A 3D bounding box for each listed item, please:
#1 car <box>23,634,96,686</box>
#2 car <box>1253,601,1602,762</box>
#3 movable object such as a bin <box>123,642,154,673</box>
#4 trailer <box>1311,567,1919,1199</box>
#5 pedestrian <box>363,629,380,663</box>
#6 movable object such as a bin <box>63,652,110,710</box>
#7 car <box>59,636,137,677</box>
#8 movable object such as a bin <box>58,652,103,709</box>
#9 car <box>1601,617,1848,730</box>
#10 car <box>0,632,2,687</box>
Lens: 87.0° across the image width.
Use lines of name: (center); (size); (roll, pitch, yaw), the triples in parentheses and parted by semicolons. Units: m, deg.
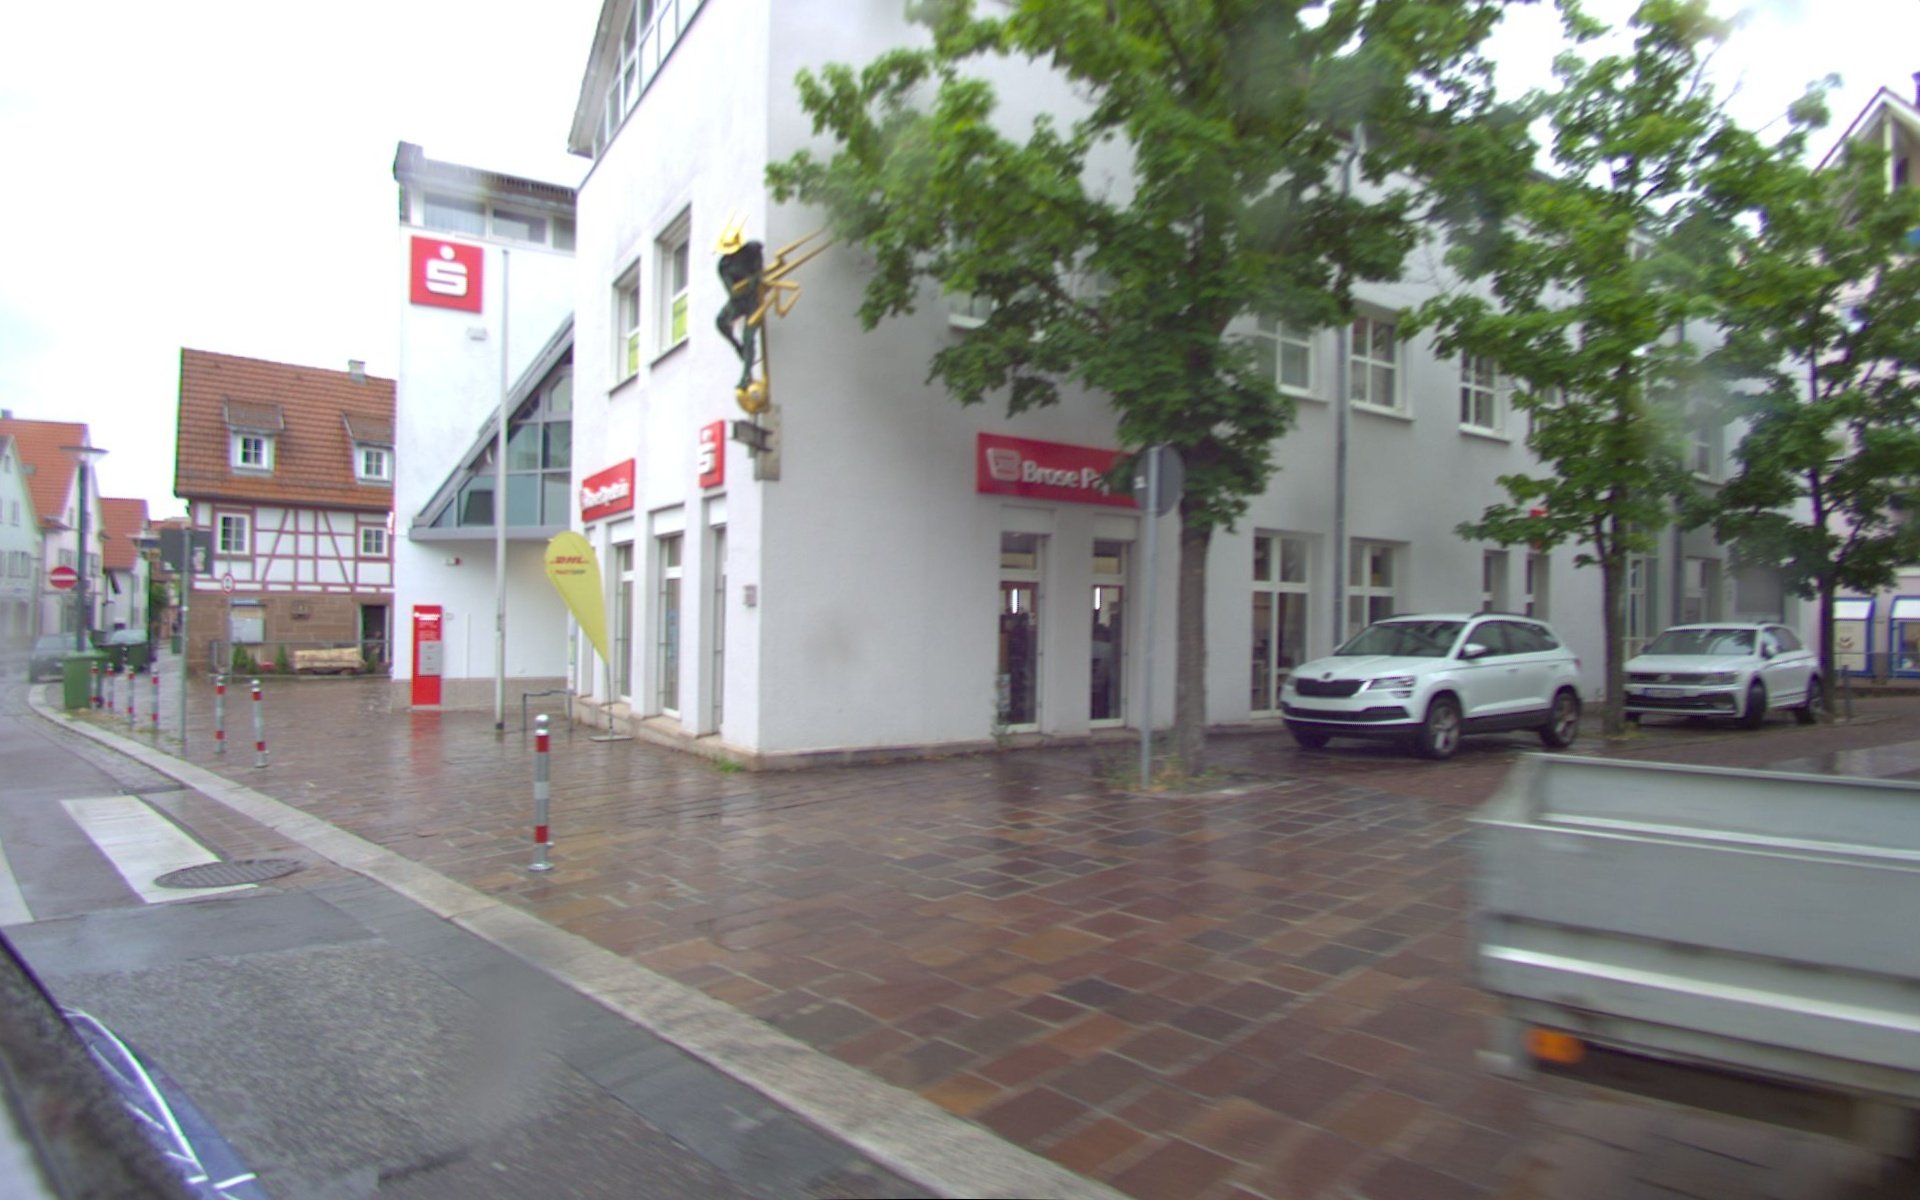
car: (-28.962, 1.873, 32.551); (1.669, 1.497, 4.005); (0, -1, -42)
car: (5.534, 0.891, 11.878); (3.933, 1.576, 1.971); (2, -3, -34)
movable object such as a bin: (-29.916, 2.088, 36.851); (0.822, 1.120, 0.921); (2, -3, -40)
trailer: (2.549, 0.631, 1.918); (3.157, 1.357, 1.711); (-3, -4, 39)
pedestrian: (-20.082, 1.558, 34.541); (0.406, 1.163, 0.425); (2, -3, -38)
movable object such as a bin: (-17.345, 1.595, 20.101); (0.650, 1.104, 0.614); (3, -3, -44)
car: (-36.286, 2.336, 42.700); (1.966, 1.541, 4.011); (-1, -1, -33)
movable object such as a bin: (-18.031, 1.635, 20.758); (0.650, 1.123, 0.553); (2, -3, -42)
car: (12.152, 1.103, 16.047); (3.933, 1.578, 1.936); (2, -2, -34)
car: (-20.169, 1.387, 19.771); (1.710, 1.567, 3.852); (2, -3, -38)
